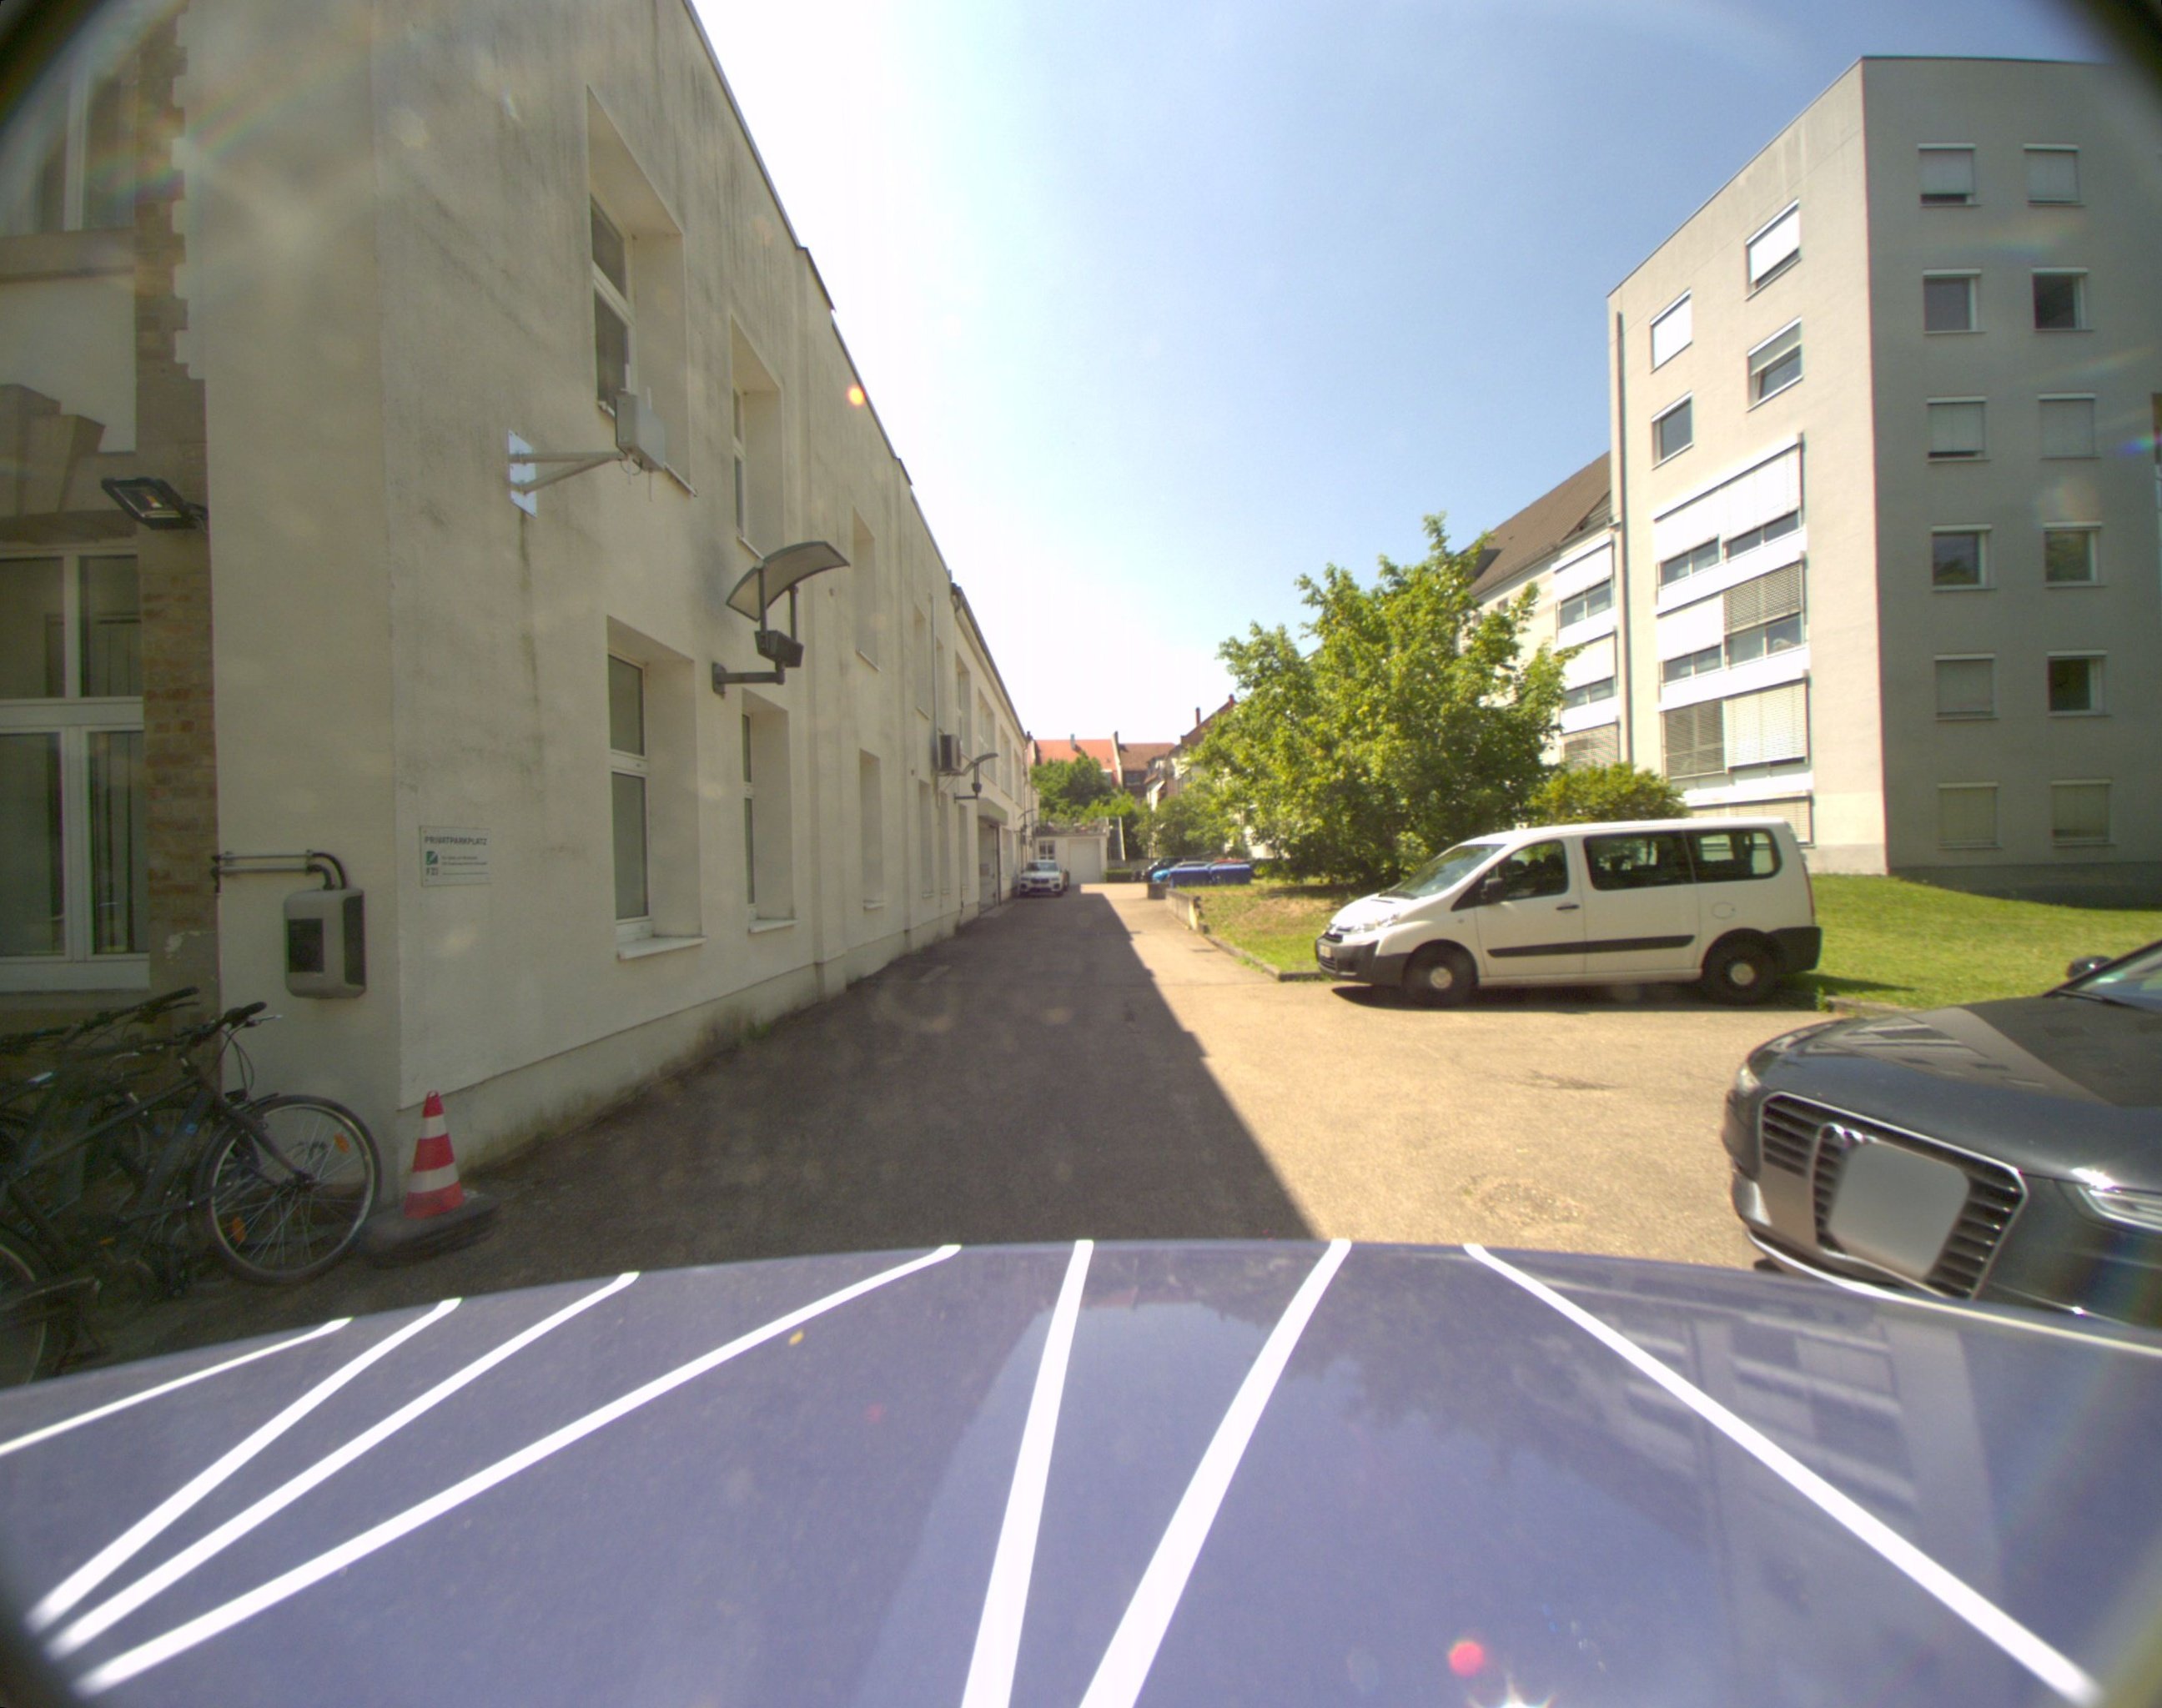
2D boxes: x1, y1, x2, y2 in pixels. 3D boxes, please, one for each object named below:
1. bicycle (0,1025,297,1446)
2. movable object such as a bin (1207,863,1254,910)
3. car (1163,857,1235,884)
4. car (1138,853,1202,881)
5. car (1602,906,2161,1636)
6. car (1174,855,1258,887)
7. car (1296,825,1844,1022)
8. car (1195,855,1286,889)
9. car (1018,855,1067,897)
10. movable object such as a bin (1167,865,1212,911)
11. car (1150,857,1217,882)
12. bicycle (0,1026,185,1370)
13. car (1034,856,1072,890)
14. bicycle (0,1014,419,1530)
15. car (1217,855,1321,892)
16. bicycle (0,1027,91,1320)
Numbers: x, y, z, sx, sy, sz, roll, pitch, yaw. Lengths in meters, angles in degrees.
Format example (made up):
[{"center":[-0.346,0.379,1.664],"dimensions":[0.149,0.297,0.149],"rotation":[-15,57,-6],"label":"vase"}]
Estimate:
[{"center":[-3.532,1.274,2.280],"dimensions":[0.406,1.095,1.826],"rotation":[-2,1,1],"label":"bicycle"},{"center":[4.737,1.017,24.158],"dimensions":[1.271,1.380,1.095],"rotation":[-2,1,1],"label":"movable object such as a bin"},{"center":[7.506,1.028,48.458],"dimensions":[4.223,1.560,1.612],"rotation":[-2,1,-5],"label":"car"},{"center":[6.320,0.915,54.460],"dimensions":[4.223,1.812,2.009],"rotation":[-2,1,-5],"label":"car"},{"center":[4.444,0.875,2.174],"dimensions":[4.439,1.371,2.025],"rotation":[-2,-2,3],"label":"car"},{"center":[7.413,0.917,41.840],"dimensions":[4.223,1.560,1.612],"rotation":[-2,1,-5],"label":"car"},{"center":[5.171,0.703,8.668],"dimensions":[4.859,1.872,2.068],"rotation":[-2,1,3],"label":"car"},{"center":[8.043,0.887,38.530],"dimensions":[4.223,1.560,1.612],"rotation":[-2,1,-5],"label":"car"},{"center":[-1.772,0.994,36.452],"dimensions":[2.011,1.792,4.727],"rotation":[-2,0,1],"label":"car"},{"center":[3.438,1.053,24.144],"dimensions":[1.271,1.380,1.095],"rotation":[-2,1,1],"label":"movable object such as a bin"},{"center":[6.919,1.043,51.520],"dimensions":[4.223,1.560,1.612],"rotation":[-2,1,-5],"label":"car"},{"center":[-4.048,1.288,2.318],"dimensions":[0.406,1.095,1.826],"rotation":[-2,1,1],"label":"bicycle"},{"center":[-1.615,1.085,45.256],"dimensions":[2.011,1.792,4.727],"rotation":[-2,0,1],"label":"car"},{"center":[-3.062,1.238,2.327],"dimensions":[0.406,1.095,1.826],"rotation":[-2,1,1],"label":"bicycle"},{"center":[8.808,0.884,35.819],"dimensions":[4.445,1.560,1.612],"rotation":[-2,1,-5],"label":"car"},{"center":[-4.487,1.300,2.346],"dimensions":[0.406,1.095,1.826],"rotation":[-2,1,1],"label":"bicycle"}]
